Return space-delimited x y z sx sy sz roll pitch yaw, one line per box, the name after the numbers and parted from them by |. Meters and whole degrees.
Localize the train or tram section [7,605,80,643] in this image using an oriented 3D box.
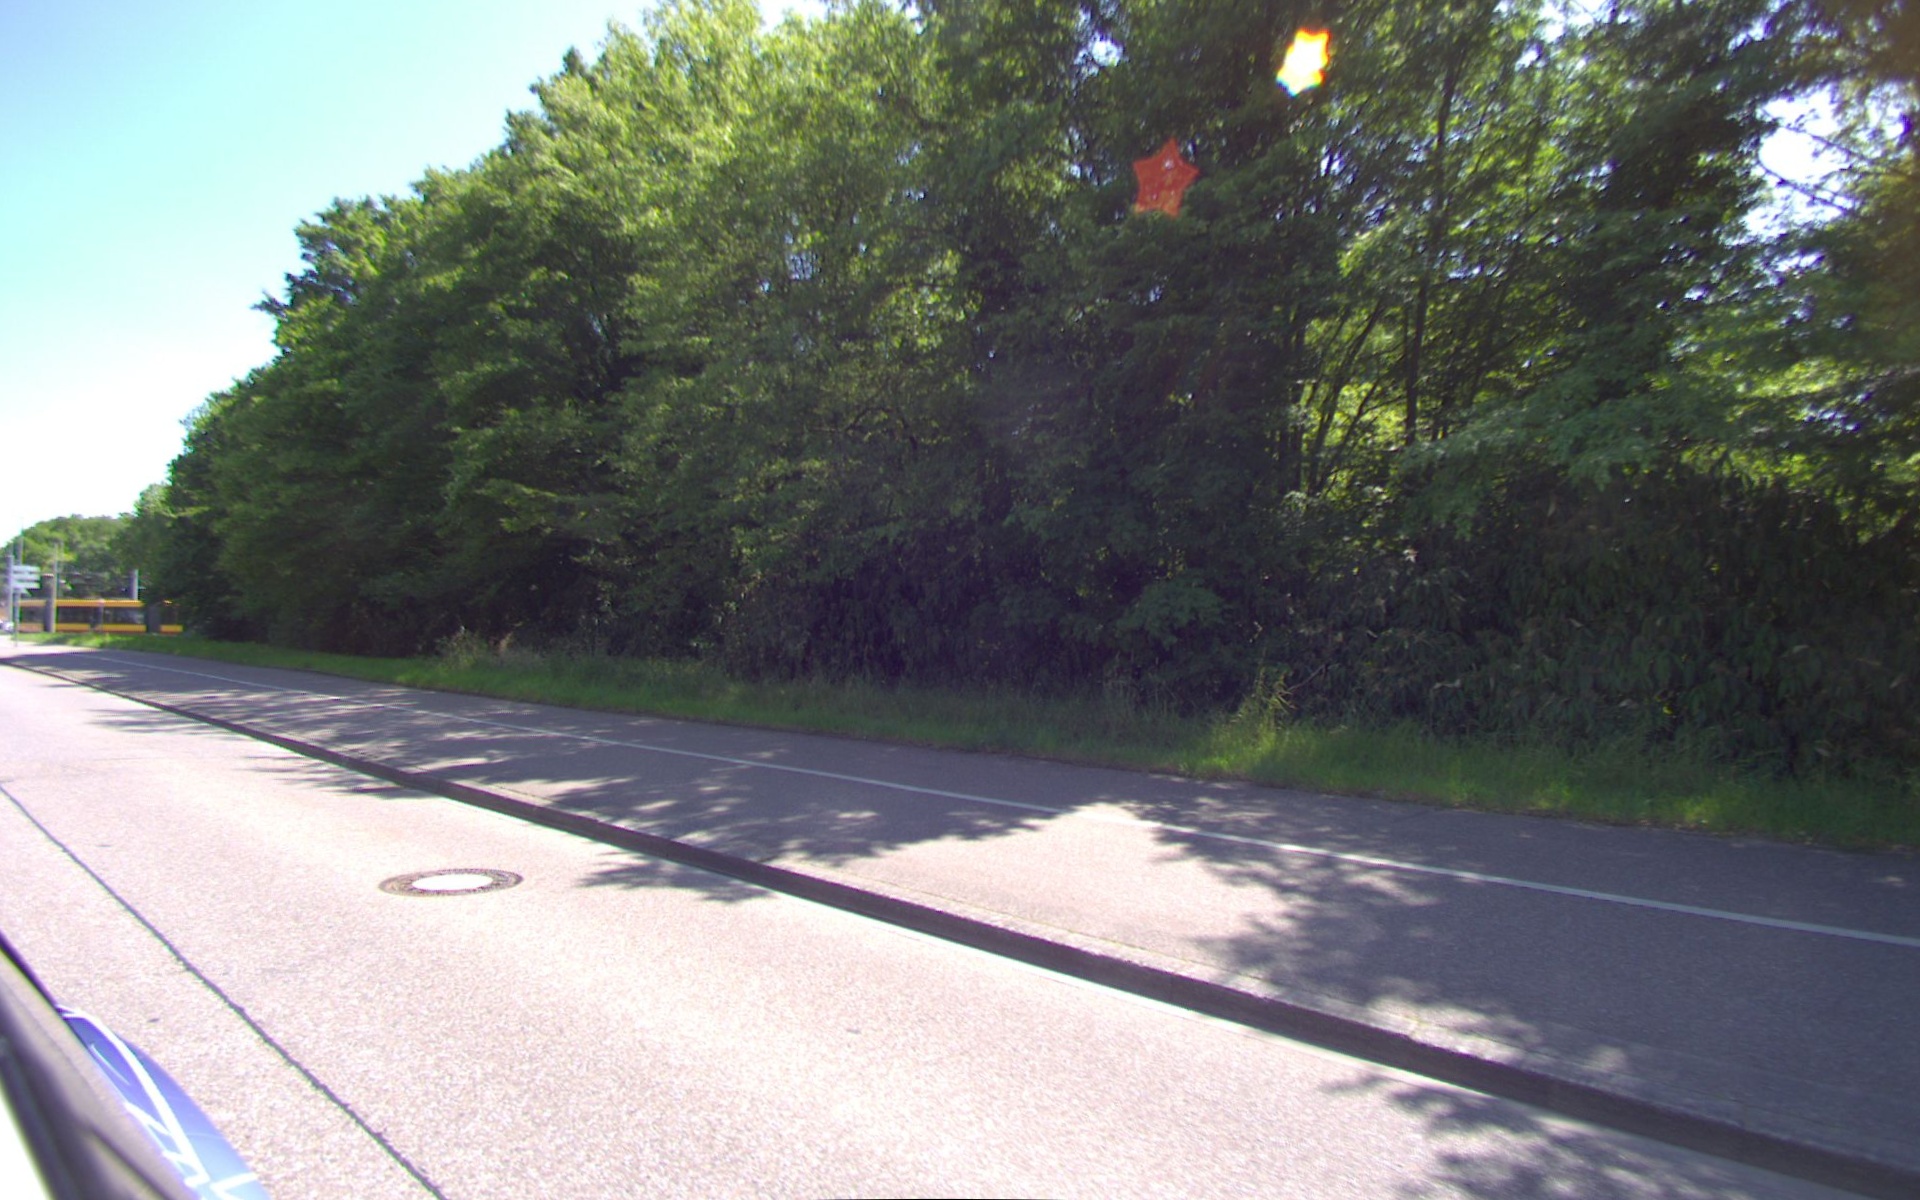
-86.798 2.280 95.763 10.824 3.492 2.550 -1 -2 34 | train or tram section

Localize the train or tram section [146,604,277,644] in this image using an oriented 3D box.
-68.217 2.199 92.509 9.192 3.492 2.791 0 -2 -17 | train or tram section

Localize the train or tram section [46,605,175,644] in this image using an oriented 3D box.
-77.204 2.213 92.017 10.730 3.492 2.644 0 -1 9 | train or tram section
